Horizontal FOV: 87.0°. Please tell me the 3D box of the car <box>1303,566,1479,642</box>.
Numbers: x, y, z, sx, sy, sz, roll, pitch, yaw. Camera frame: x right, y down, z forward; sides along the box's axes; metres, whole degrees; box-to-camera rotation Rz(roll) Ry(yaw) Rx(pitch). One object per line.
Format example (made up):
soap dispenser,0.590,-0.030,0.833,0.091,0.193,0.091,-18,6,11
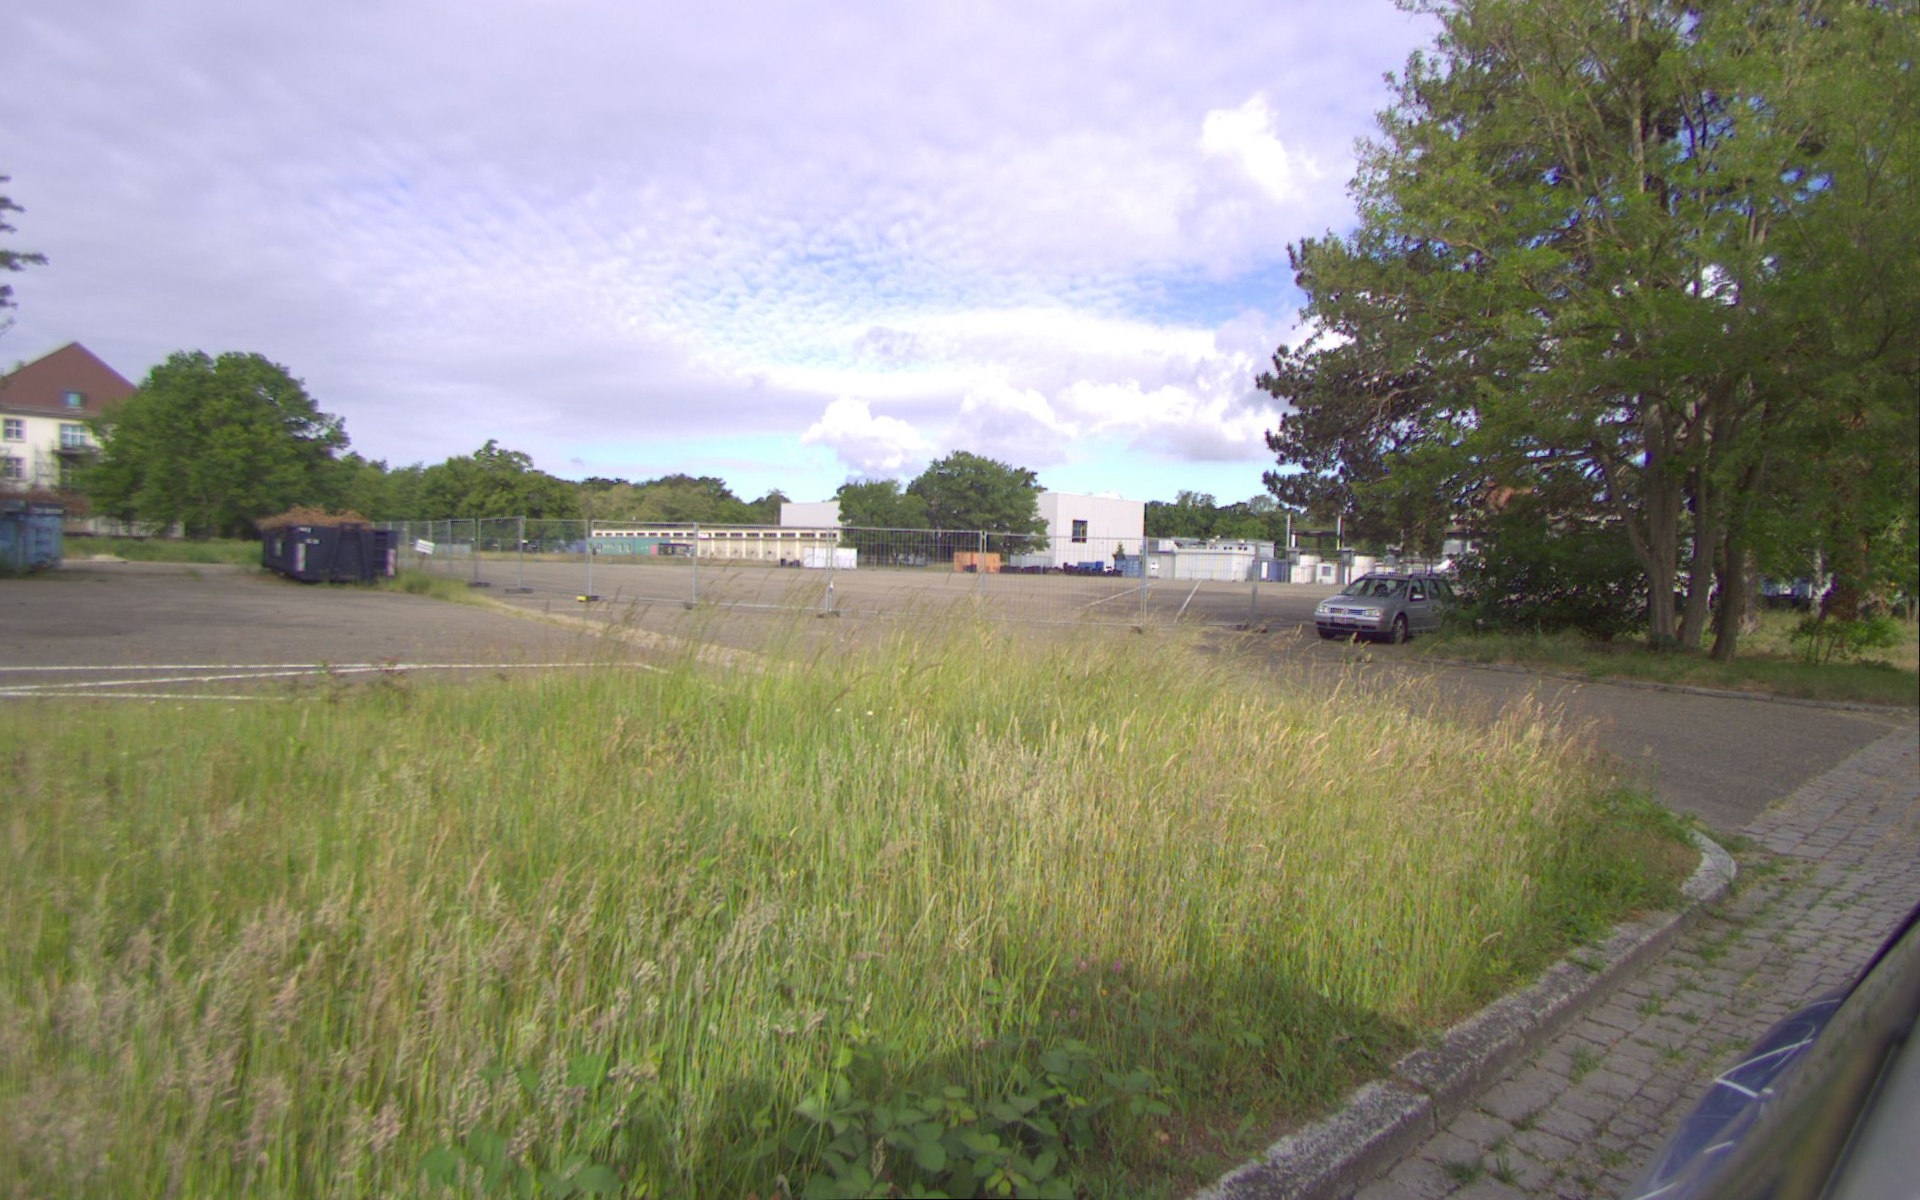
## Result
car,9.467,0.058,22.094,4.250,1.466,1.759,0,3,-40
